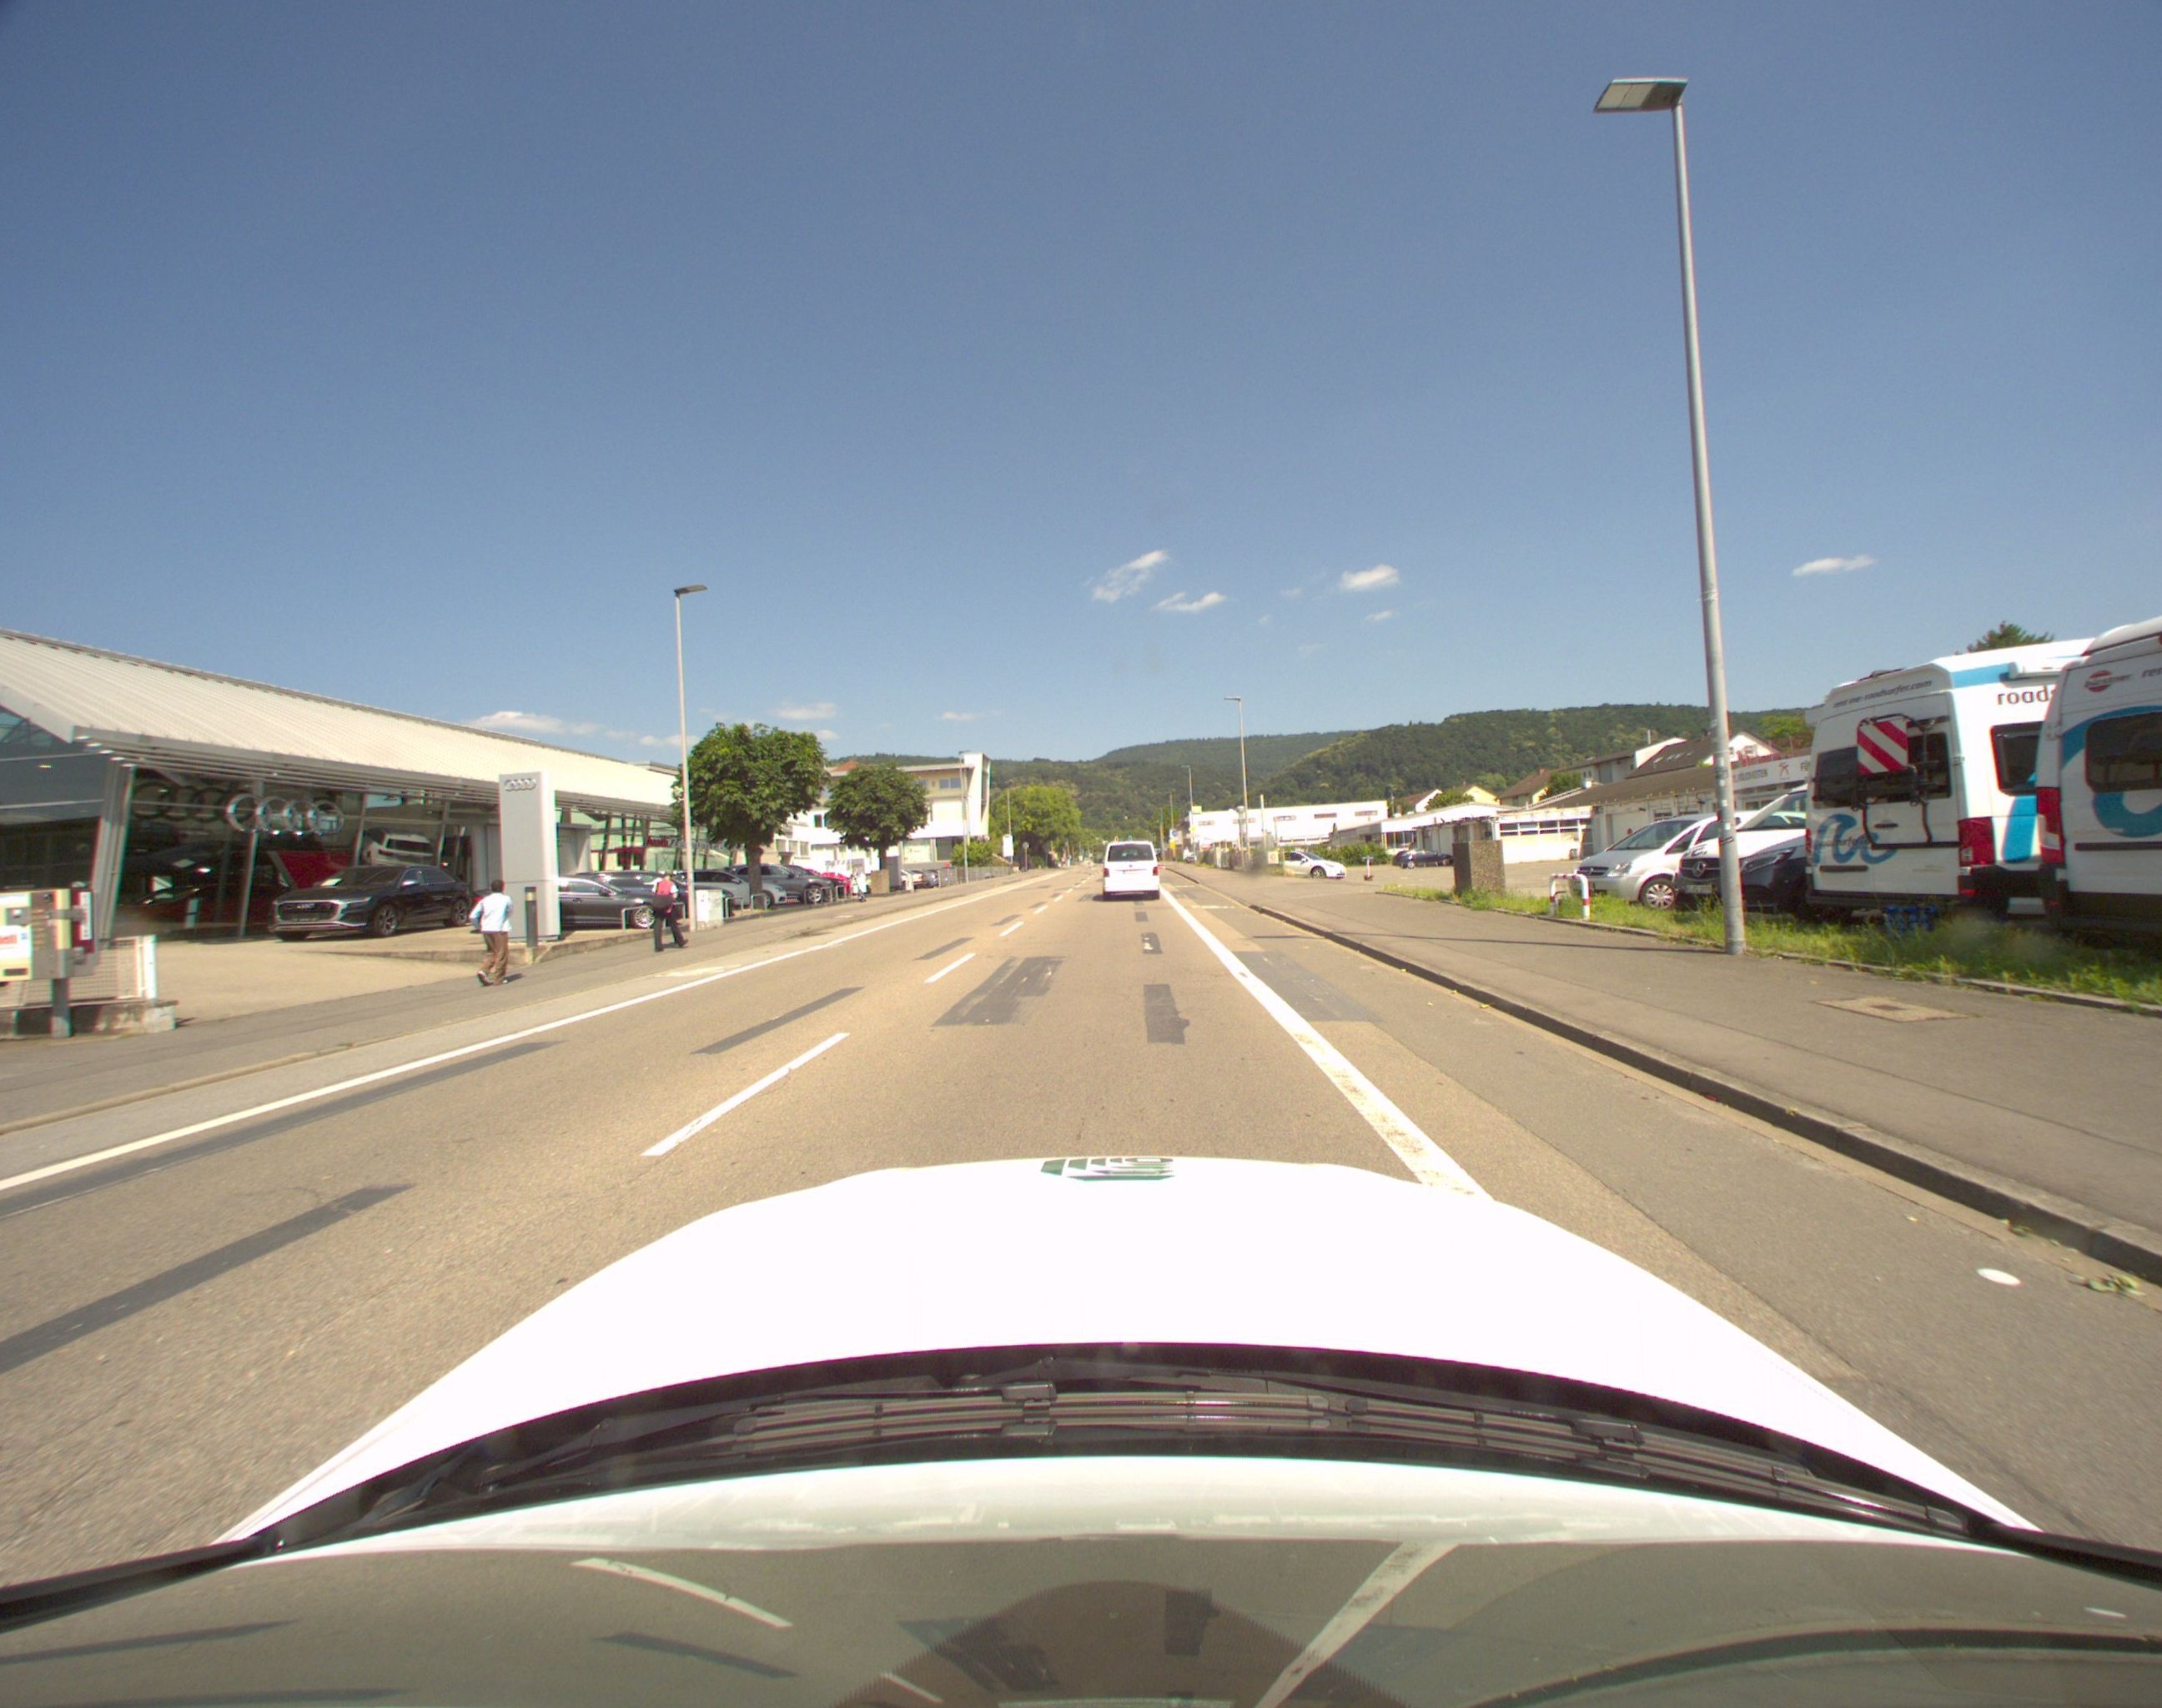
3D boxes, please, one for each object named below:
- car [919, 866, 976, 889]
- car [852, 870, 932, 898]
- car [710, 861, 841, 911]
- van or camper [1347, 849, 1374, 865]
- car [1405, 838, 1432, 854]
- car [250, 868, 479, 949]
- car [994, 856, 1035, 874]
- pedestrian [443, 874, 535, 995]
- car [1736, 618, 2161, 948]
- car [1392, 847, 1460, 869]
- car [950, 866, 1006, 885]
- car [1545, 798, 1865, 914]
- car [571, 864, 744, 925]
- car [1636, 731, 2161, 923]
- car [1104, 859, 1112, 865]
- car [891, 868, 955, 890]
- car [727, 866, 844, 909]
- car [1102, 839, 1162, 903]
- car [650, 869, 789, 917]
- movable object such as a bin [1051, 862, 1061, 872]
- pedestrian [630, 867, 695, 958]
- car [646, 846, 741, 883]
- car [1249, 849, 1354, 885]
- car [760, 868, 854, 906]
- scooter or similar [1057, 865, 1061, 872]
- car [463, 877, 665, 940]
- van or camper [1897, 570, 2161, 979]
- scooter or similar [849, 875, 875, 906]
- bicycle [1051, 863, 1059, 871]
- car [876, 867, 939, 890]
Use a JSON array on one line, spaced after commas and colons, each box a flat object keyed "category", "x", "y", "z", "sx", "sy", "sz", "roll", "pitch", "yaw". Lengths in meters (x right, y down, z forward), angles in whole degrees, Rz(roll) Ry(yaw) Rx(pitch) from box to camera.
[{"category": "car", "x": -10.858, "y": 1.919, "z": 66.550, "sx": 4.283, "sy": 1.558, "sz": 1.994, "roll": -4, "pitch": -1, "yaw": -1}, {"category": "car", "x": -11.972, "y": 1.877, "z": 51.815, "sx": 4.508, "sy": 1.457, "sz": 1.901, "roll": -4, "pitch": -1, "yaw": 1}, {"category": "car", "x": -12.189, "y": 1.233, "z": 32.581, "sx": 4.597, "sy": 1.696, "sz": 1.840, "roll": -2, "pitch": -1, "yaw": -33}, {"category": "van or camper", "x": 31.453, "y": 0.354, "z": 91.508, "sx": 1.974, "sy": 1.543, "sz": 4.255, "roll": -9, "pitch": -5, "yaw": 30}, {"category": "car", "x": 37.602, "y": -0.933, "z": 90.677, "sx": 1.974, "sy": 1.647, "sz": 4.026, "roll": -2, "pitch": 1, "yaw": 32}, {"category": "car", "x": -17.199, "y": 1.223, "z": 19.957, "sx": 1.994, "sy": 1.719, "sz": 4.715, "roll": 0, "pitch": -1, "yaw": -10}, {"category": "car", "x": -7.694, "y": 1.221, "z": 94.321, "sx": 4.554, "sy": 1.865, "sz": 2.091, "roll": -3, "pitch": -1, "yaw": -2}, {"category": "pedestrian", "x": -9.707, "y": 1.291, "z": 13.383, "sx": 0.719, "sy": 1.848, "sz": 0.913, "roll": -4, "pitch": -1, "yaw": 5}, {"category": "car", "x": 10.975, "y": -0.764, "z": 8.466, "sx": 6.202, "sy": 2.869, "sz": 2.322, "roll": -4, "pitch": -1, "yaw": 3}, {"category": "car", "x": 26.364, "y": 0.306, "z": 62.378, "sx": 4.306, "sy": 1.398, "sz": 2.123, "roll": -3, "pitch": -1, "yaw": 6}, {"category": "car", "x": -9.431, "y": 1.951, "z": 74.540, "sx": 4.721, "sy": 1.481, "sz": 2.049, "roll": -4, "pitch": -1, "yaw": 1}, {"category": "car", "x": 10.346, "y": 0.043, "z": 13.749, "sx": 3.906, "sy": 1.593, "sz": 1.799, "roll": -3, "pitch": -1, "yaw": 2}, {"category": "car", "x": -12.839, "y": 1.170, "z": 24.776, "sx": 4.498, "sy": 1.608, "sz": 1.946, "roll": 1, "pitch": 2, "yaw": -32}, {"category": "car", "x": 10.774, "y": -0.324, "z": 10.872, "sx": 5.213, "sy": 1.952, "sz": 2.001, "roll": -4, "pitch": -1, "yaw": 2}, {"category": "car", "x": 7.201, "y": 2.228, "z": 218.350, "sx": 1.985, "sy": 1.370, "sz": 4.331, "roll": -4, "pitch": -1, "yaw": 4}, {"category": "car", "x": -10.940, "y": 1.743, "z": 56.572, "sx": 3.973, "sy": 1.443, "sz": 1.859, "roll": 0, "pitch": -3, "yaw": 1}, {"category": "car", "x": -12.856, "y": 1.425, "z": 35.520, "sx": 4.497, "sy": 1.708, "sz": 1.891, "roll": -1, "pitch": -1, "yaw": -33}, {"category": "car", "x": 1.714, "y": 0.569, "z": 28.568, "sx": 1.927, "sy": 2.060, "sz": 4.546, "roll": -1, "pitch": -1, "yaw": 2}, {"category": "car", "x": -12.643, "y": 1.329, "z": 28.526, "sx": 4.218, "sy": 1.495, "sz": 1.855, "roll": -1, "pitch": -2, "yaw": -33}, {"category": "movable object such as a bin", "x": -4.078, "y": 2.074, "z": 131.705, "sx": 1.446, "sy": 1.590, "sz": 1.304, "roll": -4, "pitch": -1, "yaw": -6}, {"category": "pedestrian", "x": -9.068, "y": 1.248, "z": 17.669, "sx": 0.729, "sy": 1.867, "sz": 1.048, "roll": -4, "pitch": -1, "yaw": 2}, {"category": "car", "x": -19.037, "y": 0.489, "z": 40.180, "sx": 1.978, "sy": 1.684, "sz": 4.017, "roll": -3, "pitch": -1, "yaw": 16}, {"category": "car", "x": 11.466, "y": 0.730, "z": 42.698, "sx": 2.035, "sy": 1.622, "sz": 4.984, "roll": 5, "pitch": -6, "yaw": -44}, {"category": "car", "x": -13.185, "y": 1.550, "z": 39.254, "sx": 4.010, "sy": 1.550, "sz": 1.842, "roll": -2, "pitch": -1, "yaw": -28}, {"category": "scooter or similar", "x": -3.403, "y": 2.204, "z": 125.850, "sx": 0.645, "sy": 1.128, "sz": 1.621, "roll": 0, "pitch": -1, "yaw": -3}, {"category": "car", "x": -13.196, "y": 1.386, "z": 21.016, "sx": 4.175, "sy": 1.460, "sz": 1.888, "roll": 2, "pitch": -4, "yaw": -32}, {"category": "van or camper", "x": 10.347, "y": -0.706, "z": 5.672, "sx": 6.323, "sy": 2.700, "sz": 2.714, "roll": -4, "pitch": -1, "yaw": 3}, {"category": "scooter or similar", "x": -9.335, "y": 1.526, "z": 34.774, "sx": 0.742, "sy": 1.247, "sz": 1.488, "roll": -3, "pitch": -1, "yaw": -5}, {"category": "bicycle", "x": -3.893, "y": 1.958, "z": 122.198, "sx": 1.023, "sy": 1.118, "sz": 2.766, "roll": -1, "pitch": -1, "yaw": 0}, {"category": "car", "x": -11.506, "y": 1.647, "z": 54.154, "sx": 3.884, "sy": 1.445, "sz": 1.819, "roll": 1, "pitch": -3, "yaw": -5}]
